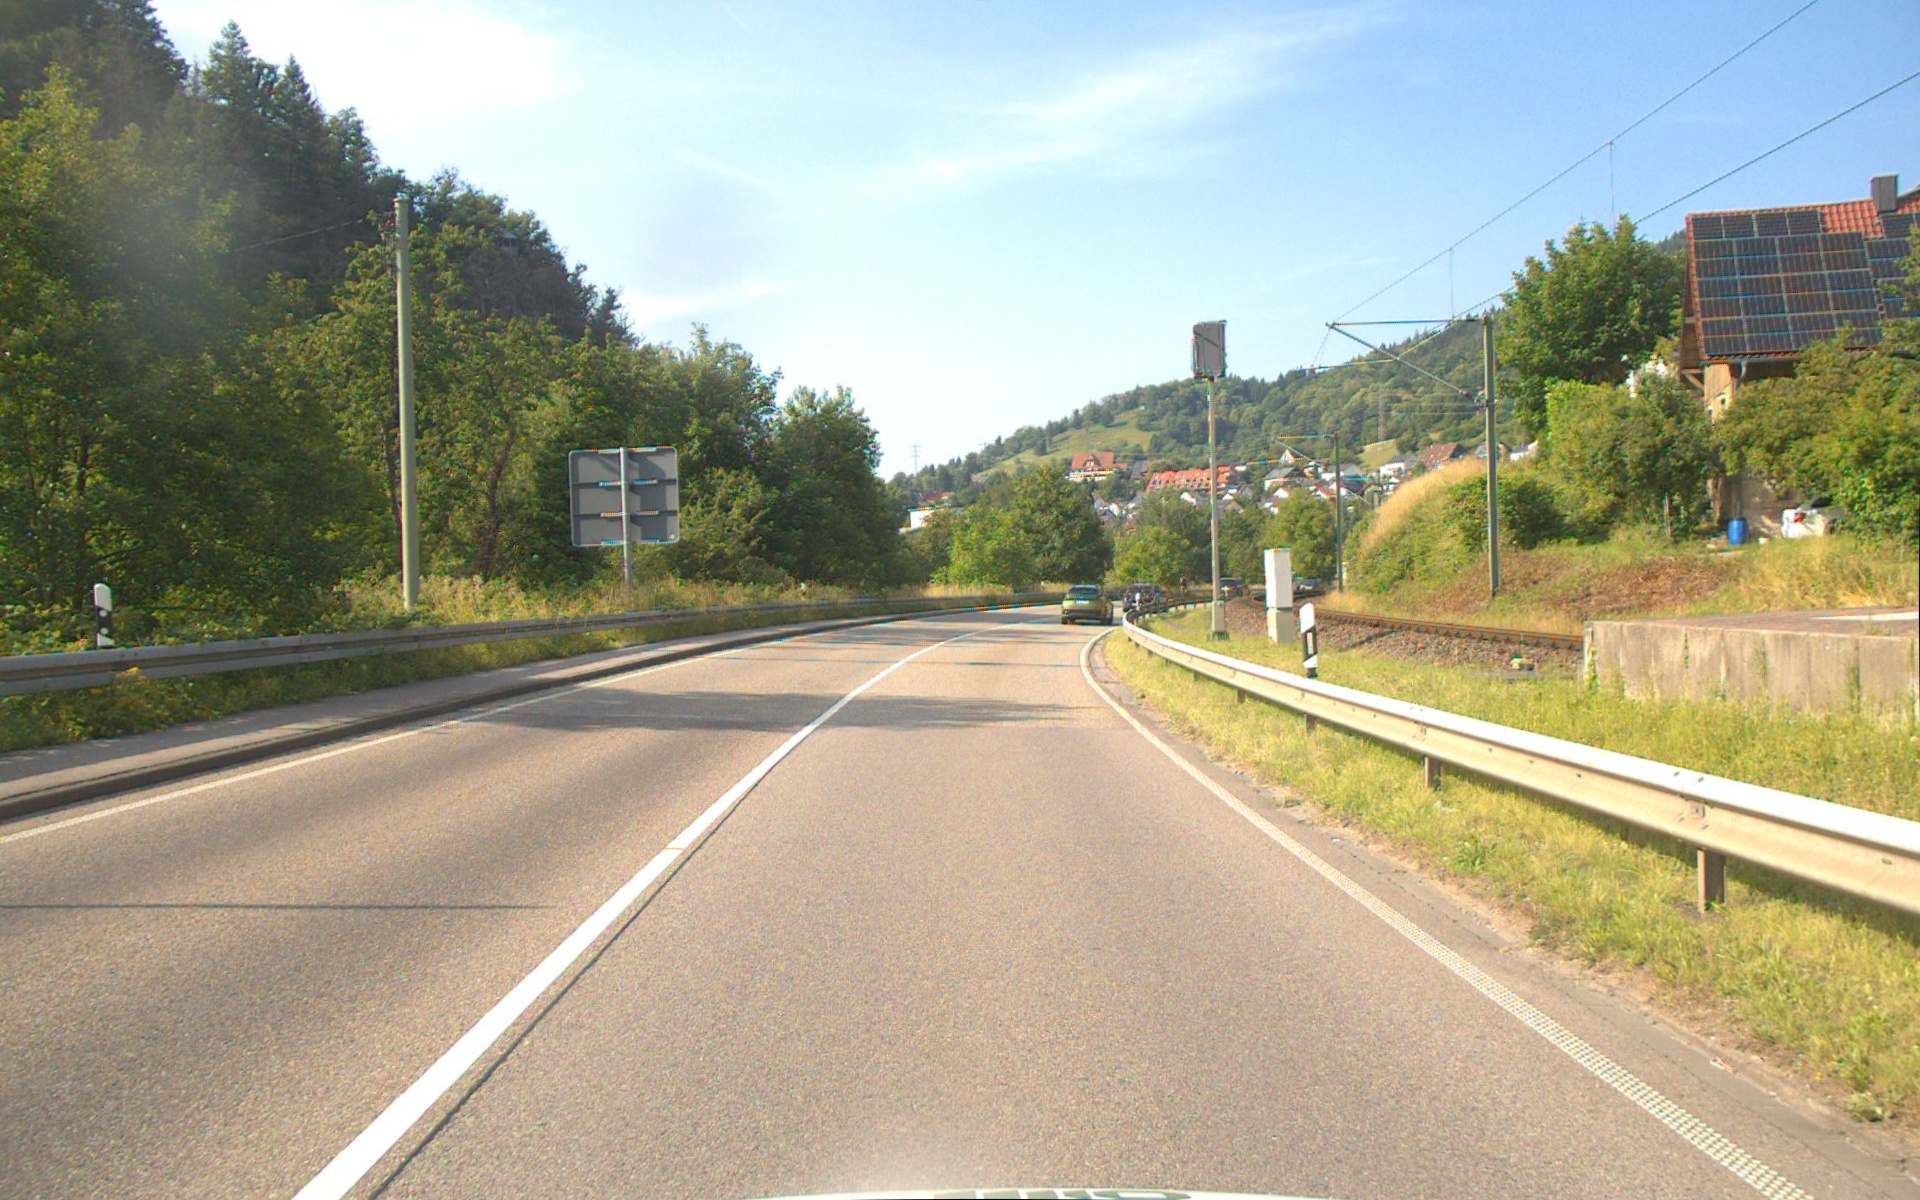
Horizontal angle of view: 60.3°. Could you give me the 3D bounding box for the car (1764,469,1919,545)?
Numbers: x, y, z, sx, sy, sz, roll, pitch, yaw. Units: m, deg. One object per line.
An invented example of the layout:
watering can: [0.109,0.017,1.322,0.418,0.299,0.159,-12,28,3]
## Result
car: [23.381,-2.418,43.182,3.902,1.713,2.002,-2,0,14]

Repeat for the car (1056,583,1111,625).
car: [4.755,0.142,63.416,1.691,1.482,3.414,-2,0,10]

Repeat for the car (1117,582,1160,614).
car: [9.028,-0.114,83.421,1.801,1.485,3.716,-2,0,11]

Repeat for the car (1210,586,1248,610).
car: [17.966,-0.165,110.331,1.769,1.478,3.648,-2,0,20]

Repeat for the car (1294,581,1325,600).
car: [28.308,-0.756,133.755,1.771,1.433,3.773,-2,0,22]
